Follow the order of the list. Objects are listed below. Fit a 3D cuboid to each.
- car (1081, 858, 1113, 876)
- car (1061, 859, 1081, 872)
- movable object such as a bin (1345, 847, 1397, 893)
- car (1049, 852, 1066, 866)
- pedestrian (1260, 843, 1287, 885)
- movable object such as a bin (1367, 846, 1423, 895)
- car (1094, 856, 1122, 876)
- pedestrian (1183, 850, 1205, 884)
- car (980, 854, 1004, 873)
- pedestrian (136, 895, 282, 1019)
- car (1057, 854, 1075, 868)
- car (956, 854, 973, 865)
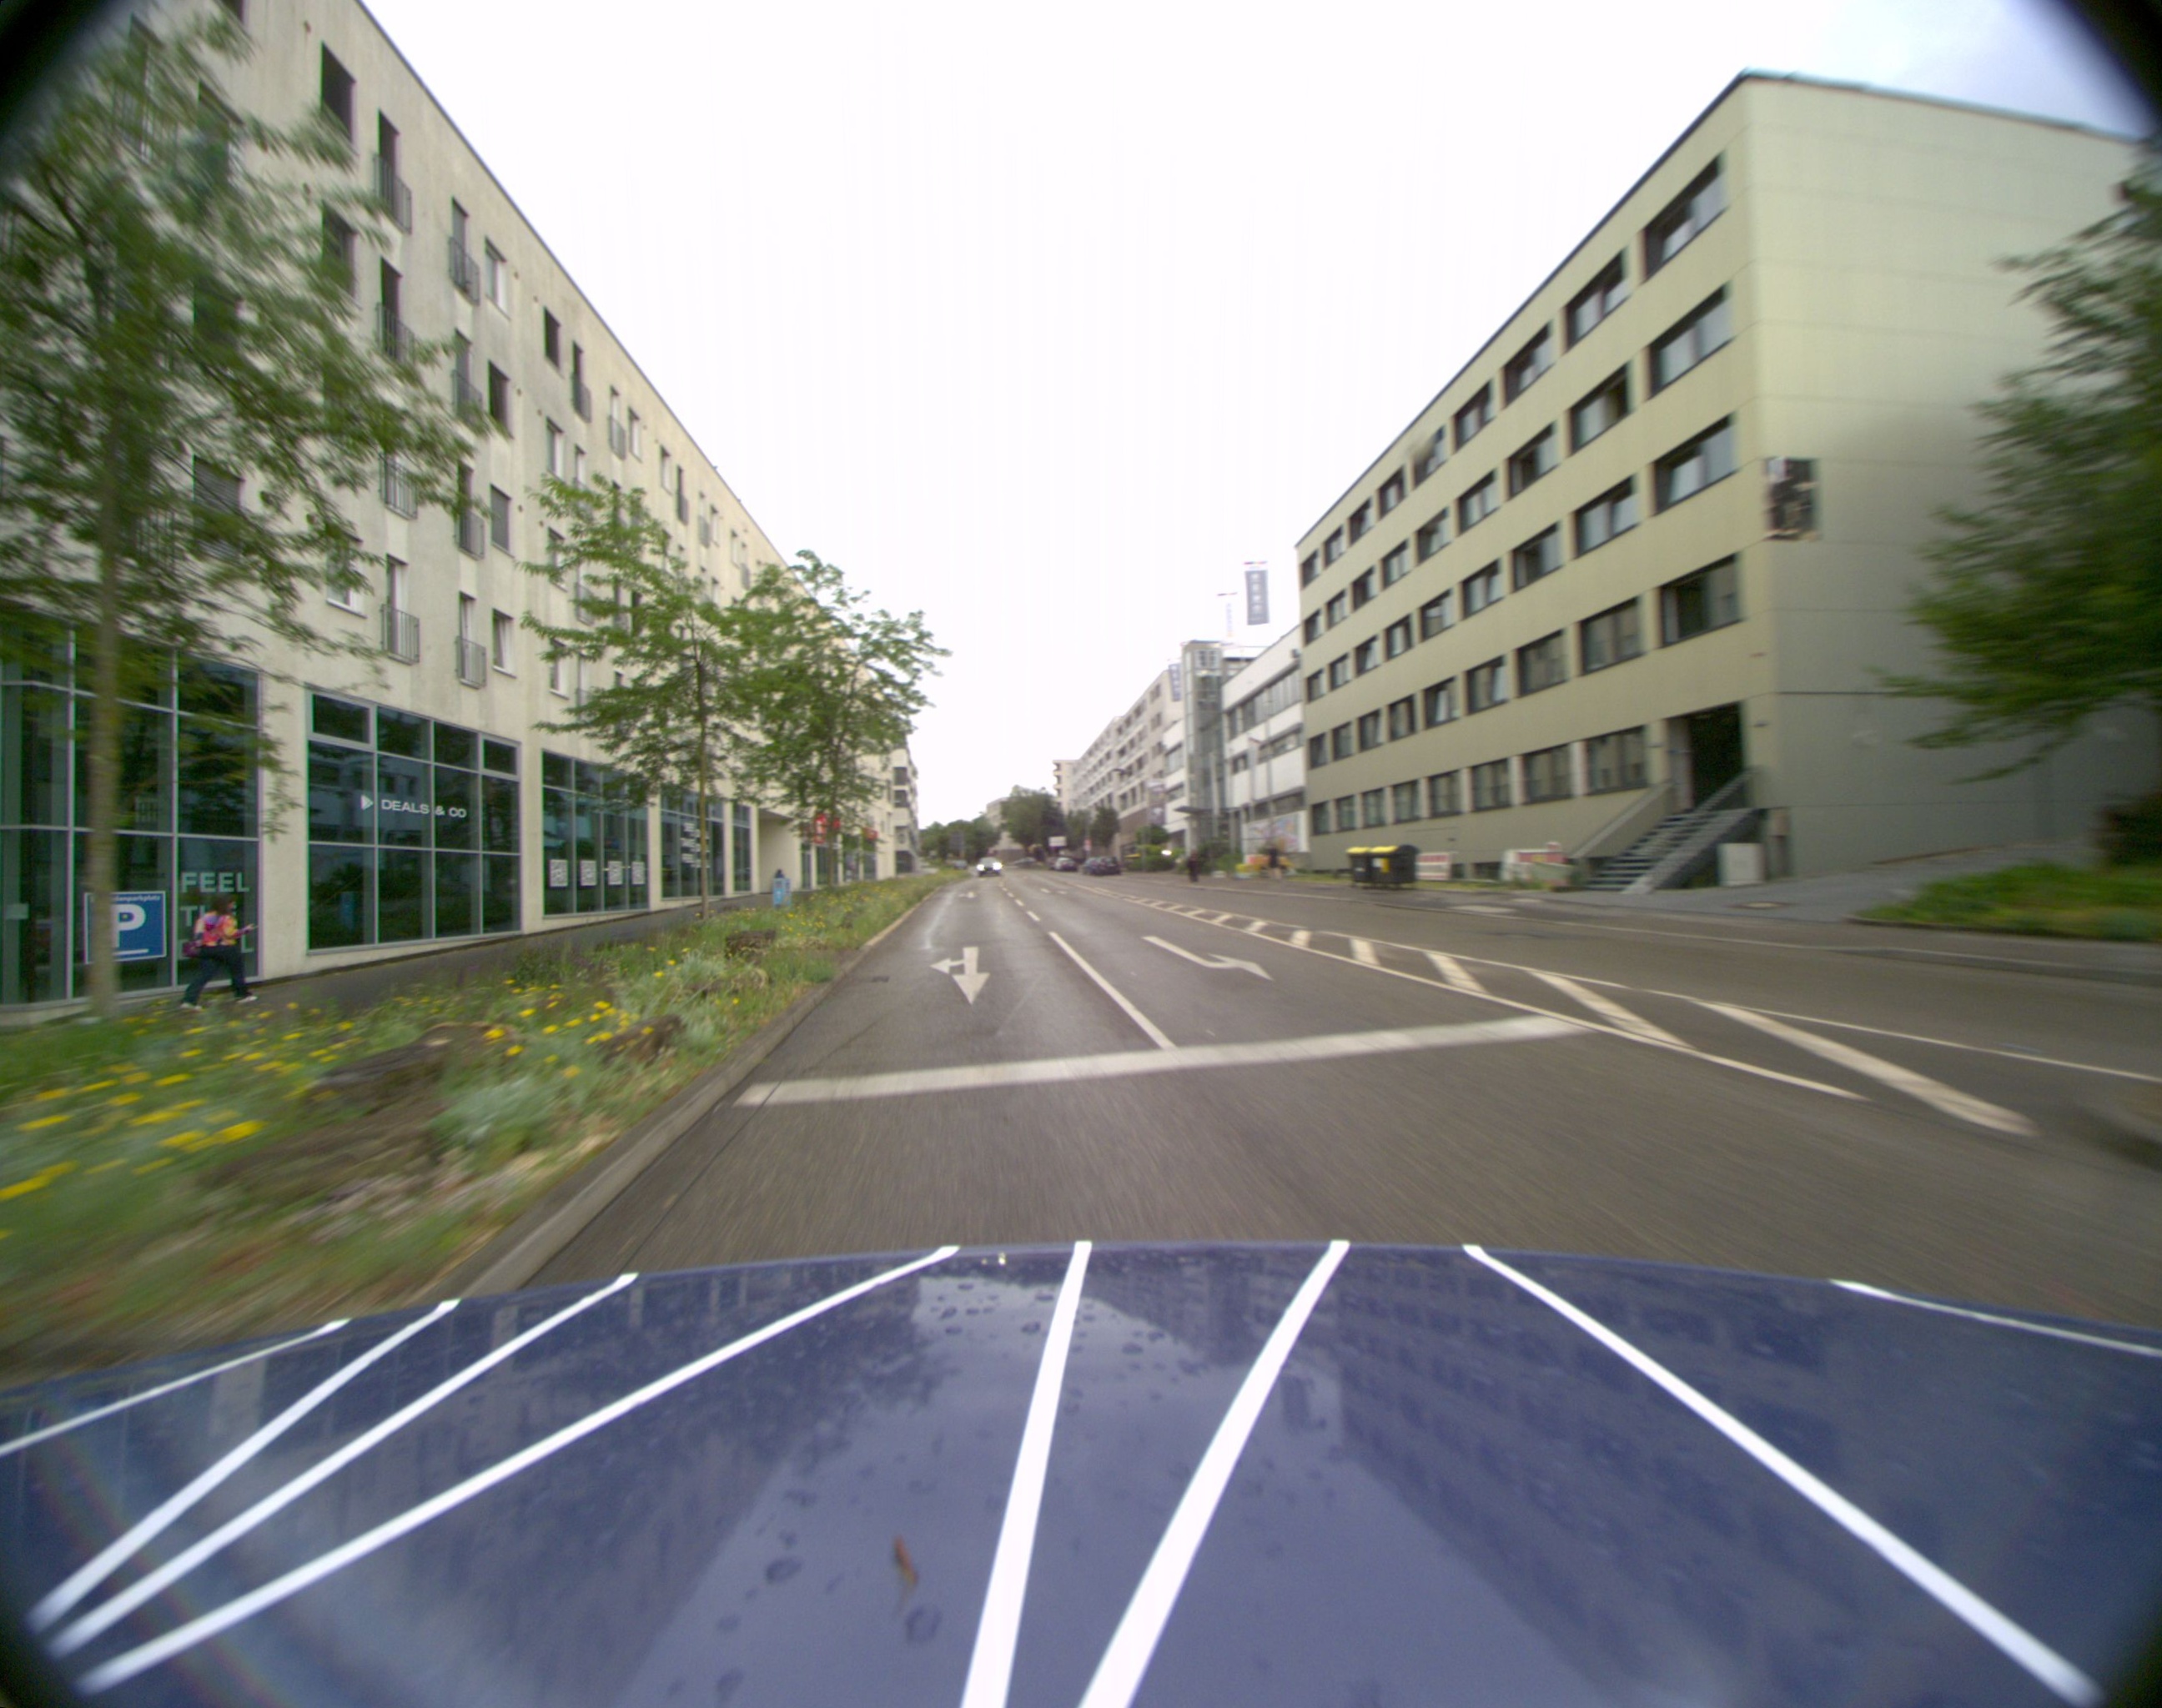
[{"bbox_3d":[1.305,1.085,64.022,1.662,1.395,4.265,-2,0,-12],"label":"car"},{"bbox_3d":[-1.075,1.212,83.151,1.663,1.383,3.736,0,0,-9],"label":"car"},{"bbox_3d":[9.818,0.527,25.768,1.057,1.437,1.429,-4,1,-6],"label":"movable object such as a bin"},{"bbox_3d":[-2.876,0.623,93.096,1.631,1.608,3.970,1,0,-8],"label":"car"},{"bbox_3d":[8.323,0.429,32.909,0.757,1.722,0.941,-4,1,-4],"label":"pedestrian"},{"bbox_3d":[10.010,0.511,24.272,1.057,1.437,1.357,-4,1,-6],"label":"movable object such as a bin"},{"bbox_3d":[2.088,0.927,59.902,1.520,1.501,2.978,0,0,-12],"label":"car"},{"bbox_3d":[5.680,0.645,38.285,0.769,1.667,0.968,-4,1,-6],"label":"pedestrian"},{"bbox_3d":[-8.167,0.845,70.111,1.999,1.565,3.998,-4,1,-5],"label":"car"},{"bbox_3d":[-13.180,1.522,11.533,0.875,1.702,1.088,-3,-1,-2],"label":"pedestrian"},{"bbox_3d":[-1.758,0.812,87.964,1.598,1.459,3.419,1,0,-9],"label":"car"},{"bbox_3d":[-16.389,0.764,107.093,1.999,1.477,3.998,-4,1,-5],"label":"car"}]
